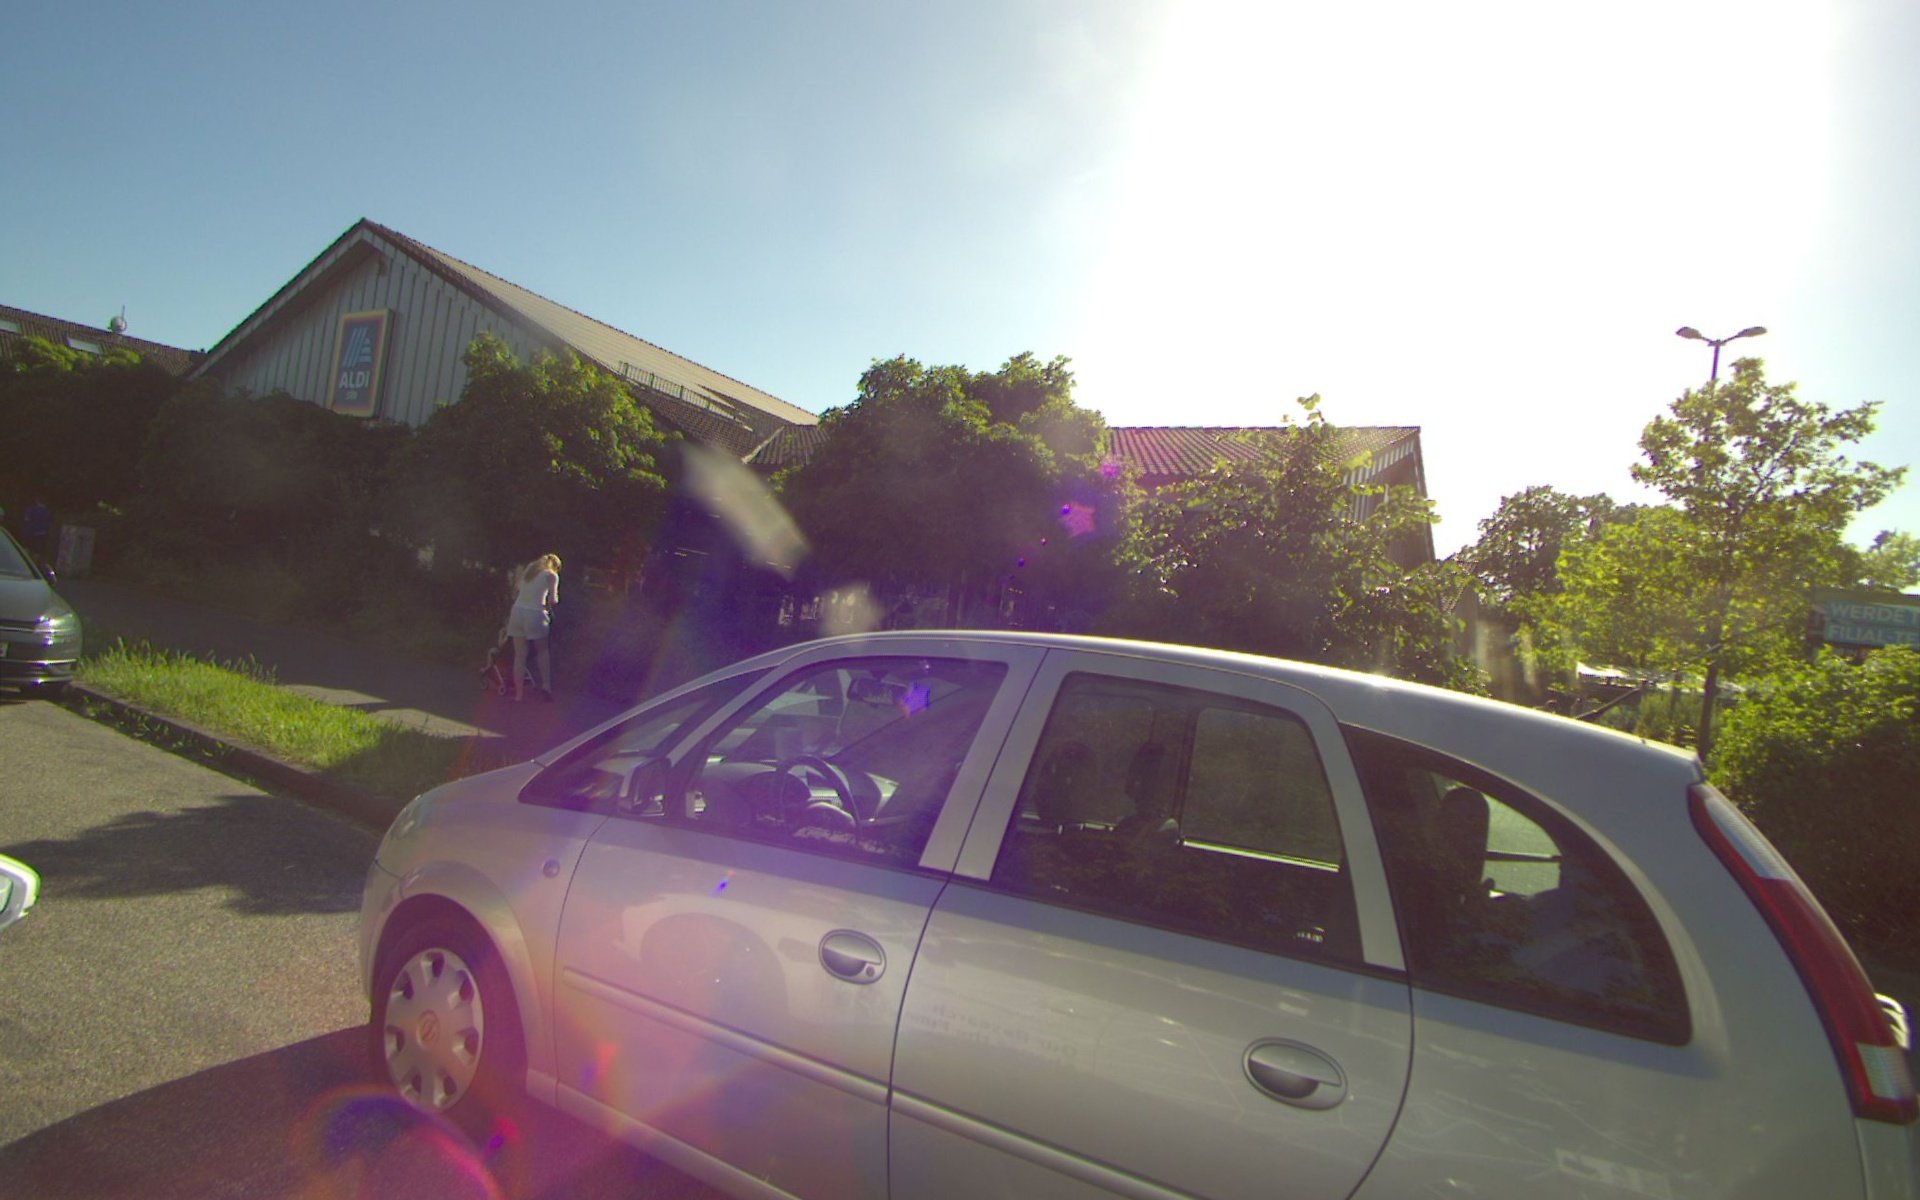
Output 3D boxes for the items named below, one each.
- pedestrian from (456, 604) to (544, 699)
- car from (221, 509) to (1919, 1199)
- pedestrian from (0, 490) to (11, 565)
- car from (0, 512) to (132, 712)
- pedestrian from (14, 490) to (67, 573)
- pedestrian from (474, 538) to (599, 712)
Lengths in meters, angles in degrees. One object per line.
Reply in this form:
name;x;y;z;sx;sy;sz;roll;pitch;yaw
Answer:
pedestrian;-5.402;0.598;11.808;0.798;0.991;0.532;6;-2;39
car;-0.044;0.830;2.937;3.959;1.615;1.687;6;-5;29
pedestrian;-19.928;-1.464;20.531;0.538;1.655;0.567;7;-1;37
car;-9.066;-0.142;8.483;4.291;1.459;1.812;7;-3;32
pedestrian;-19.422;-1.445;21.256;0.538;1.655;0.567;7;-1;37
pedestrian;-4.727;0.283;11.237;0.797;1.802;0.798;7;-2;39
